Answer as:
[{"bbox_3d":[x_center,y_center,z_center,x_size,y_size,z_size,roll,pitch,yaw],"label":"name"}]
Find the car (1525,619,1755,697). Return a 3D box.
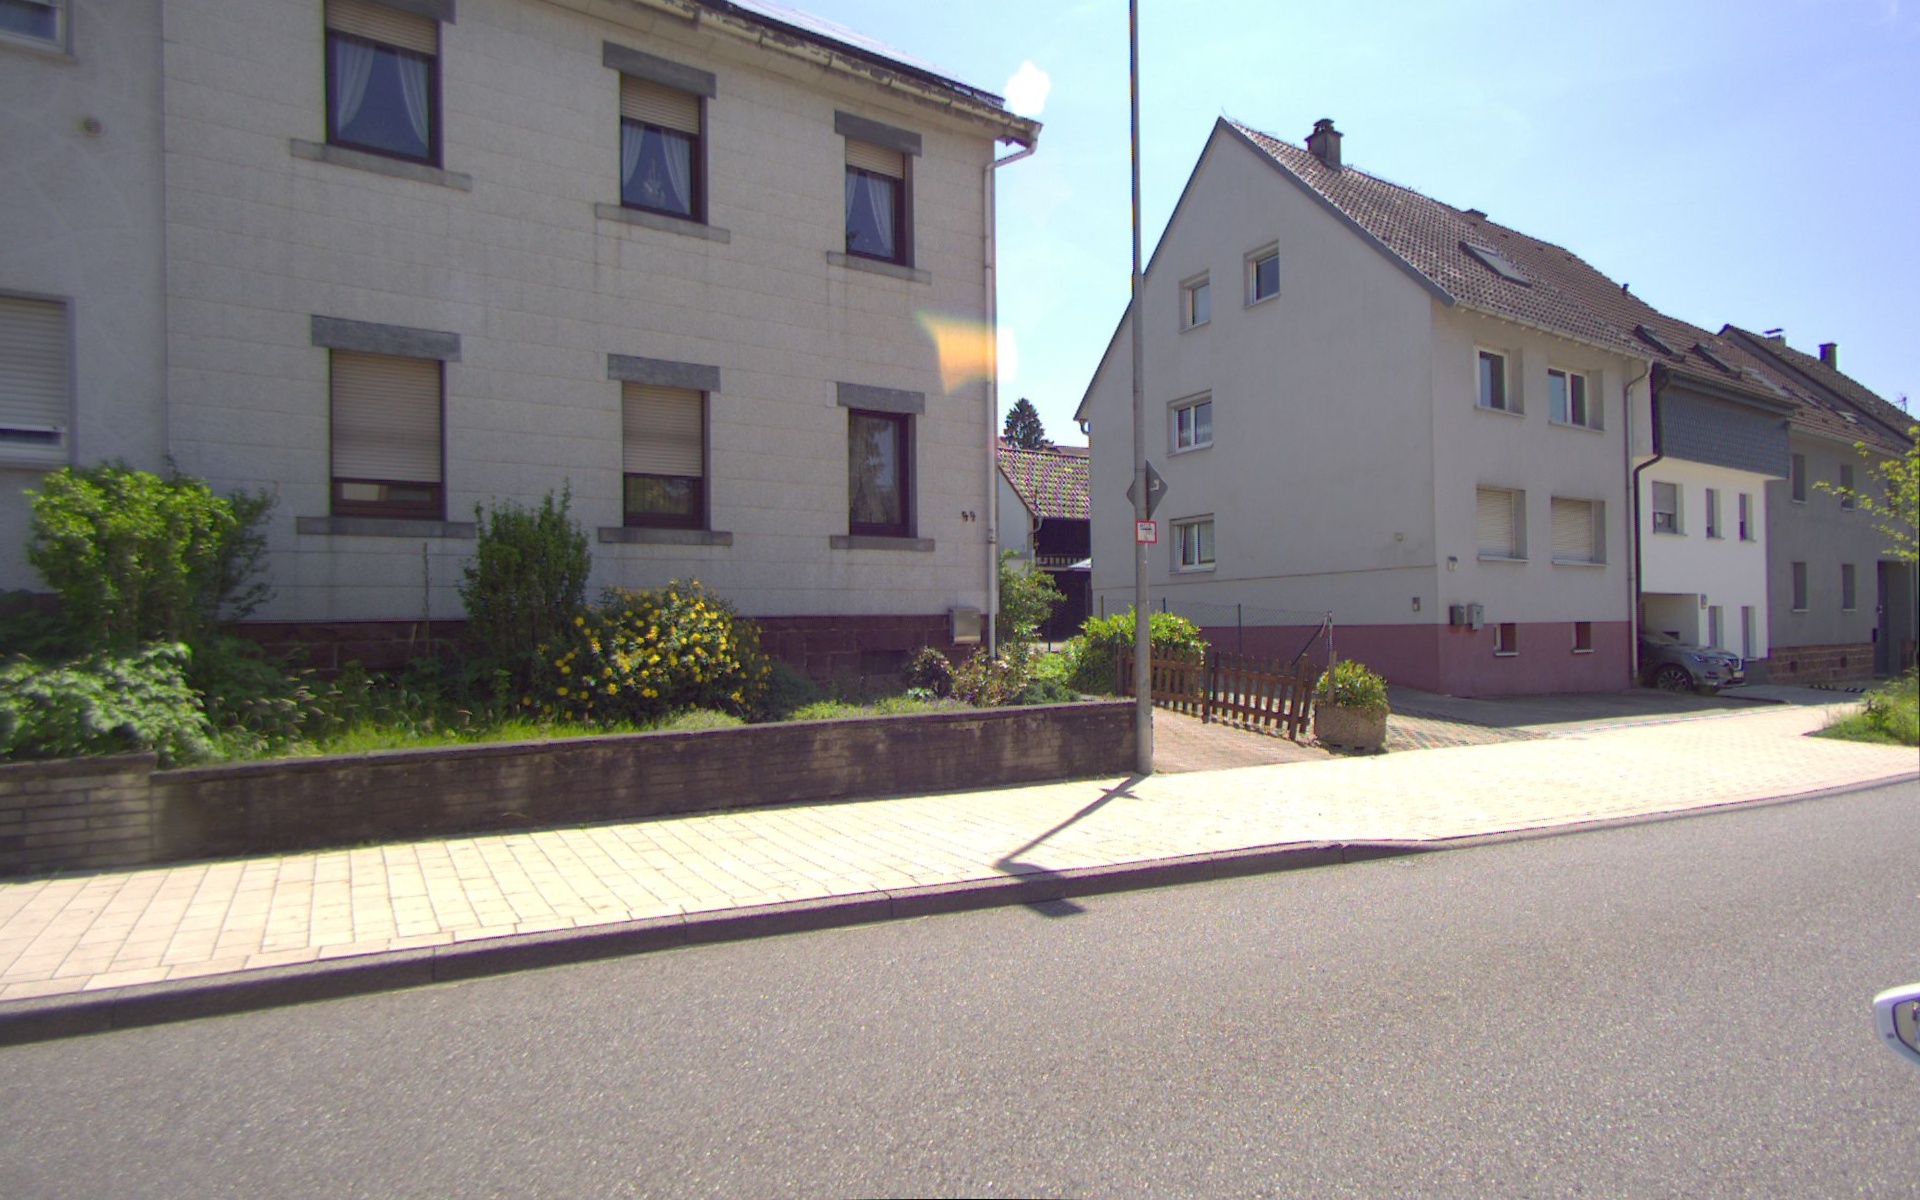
[{"bbox_3d":[15.302,1.235,22.803,1.812,1.566,3.965,1,-1,-32],"label":"car"}]
